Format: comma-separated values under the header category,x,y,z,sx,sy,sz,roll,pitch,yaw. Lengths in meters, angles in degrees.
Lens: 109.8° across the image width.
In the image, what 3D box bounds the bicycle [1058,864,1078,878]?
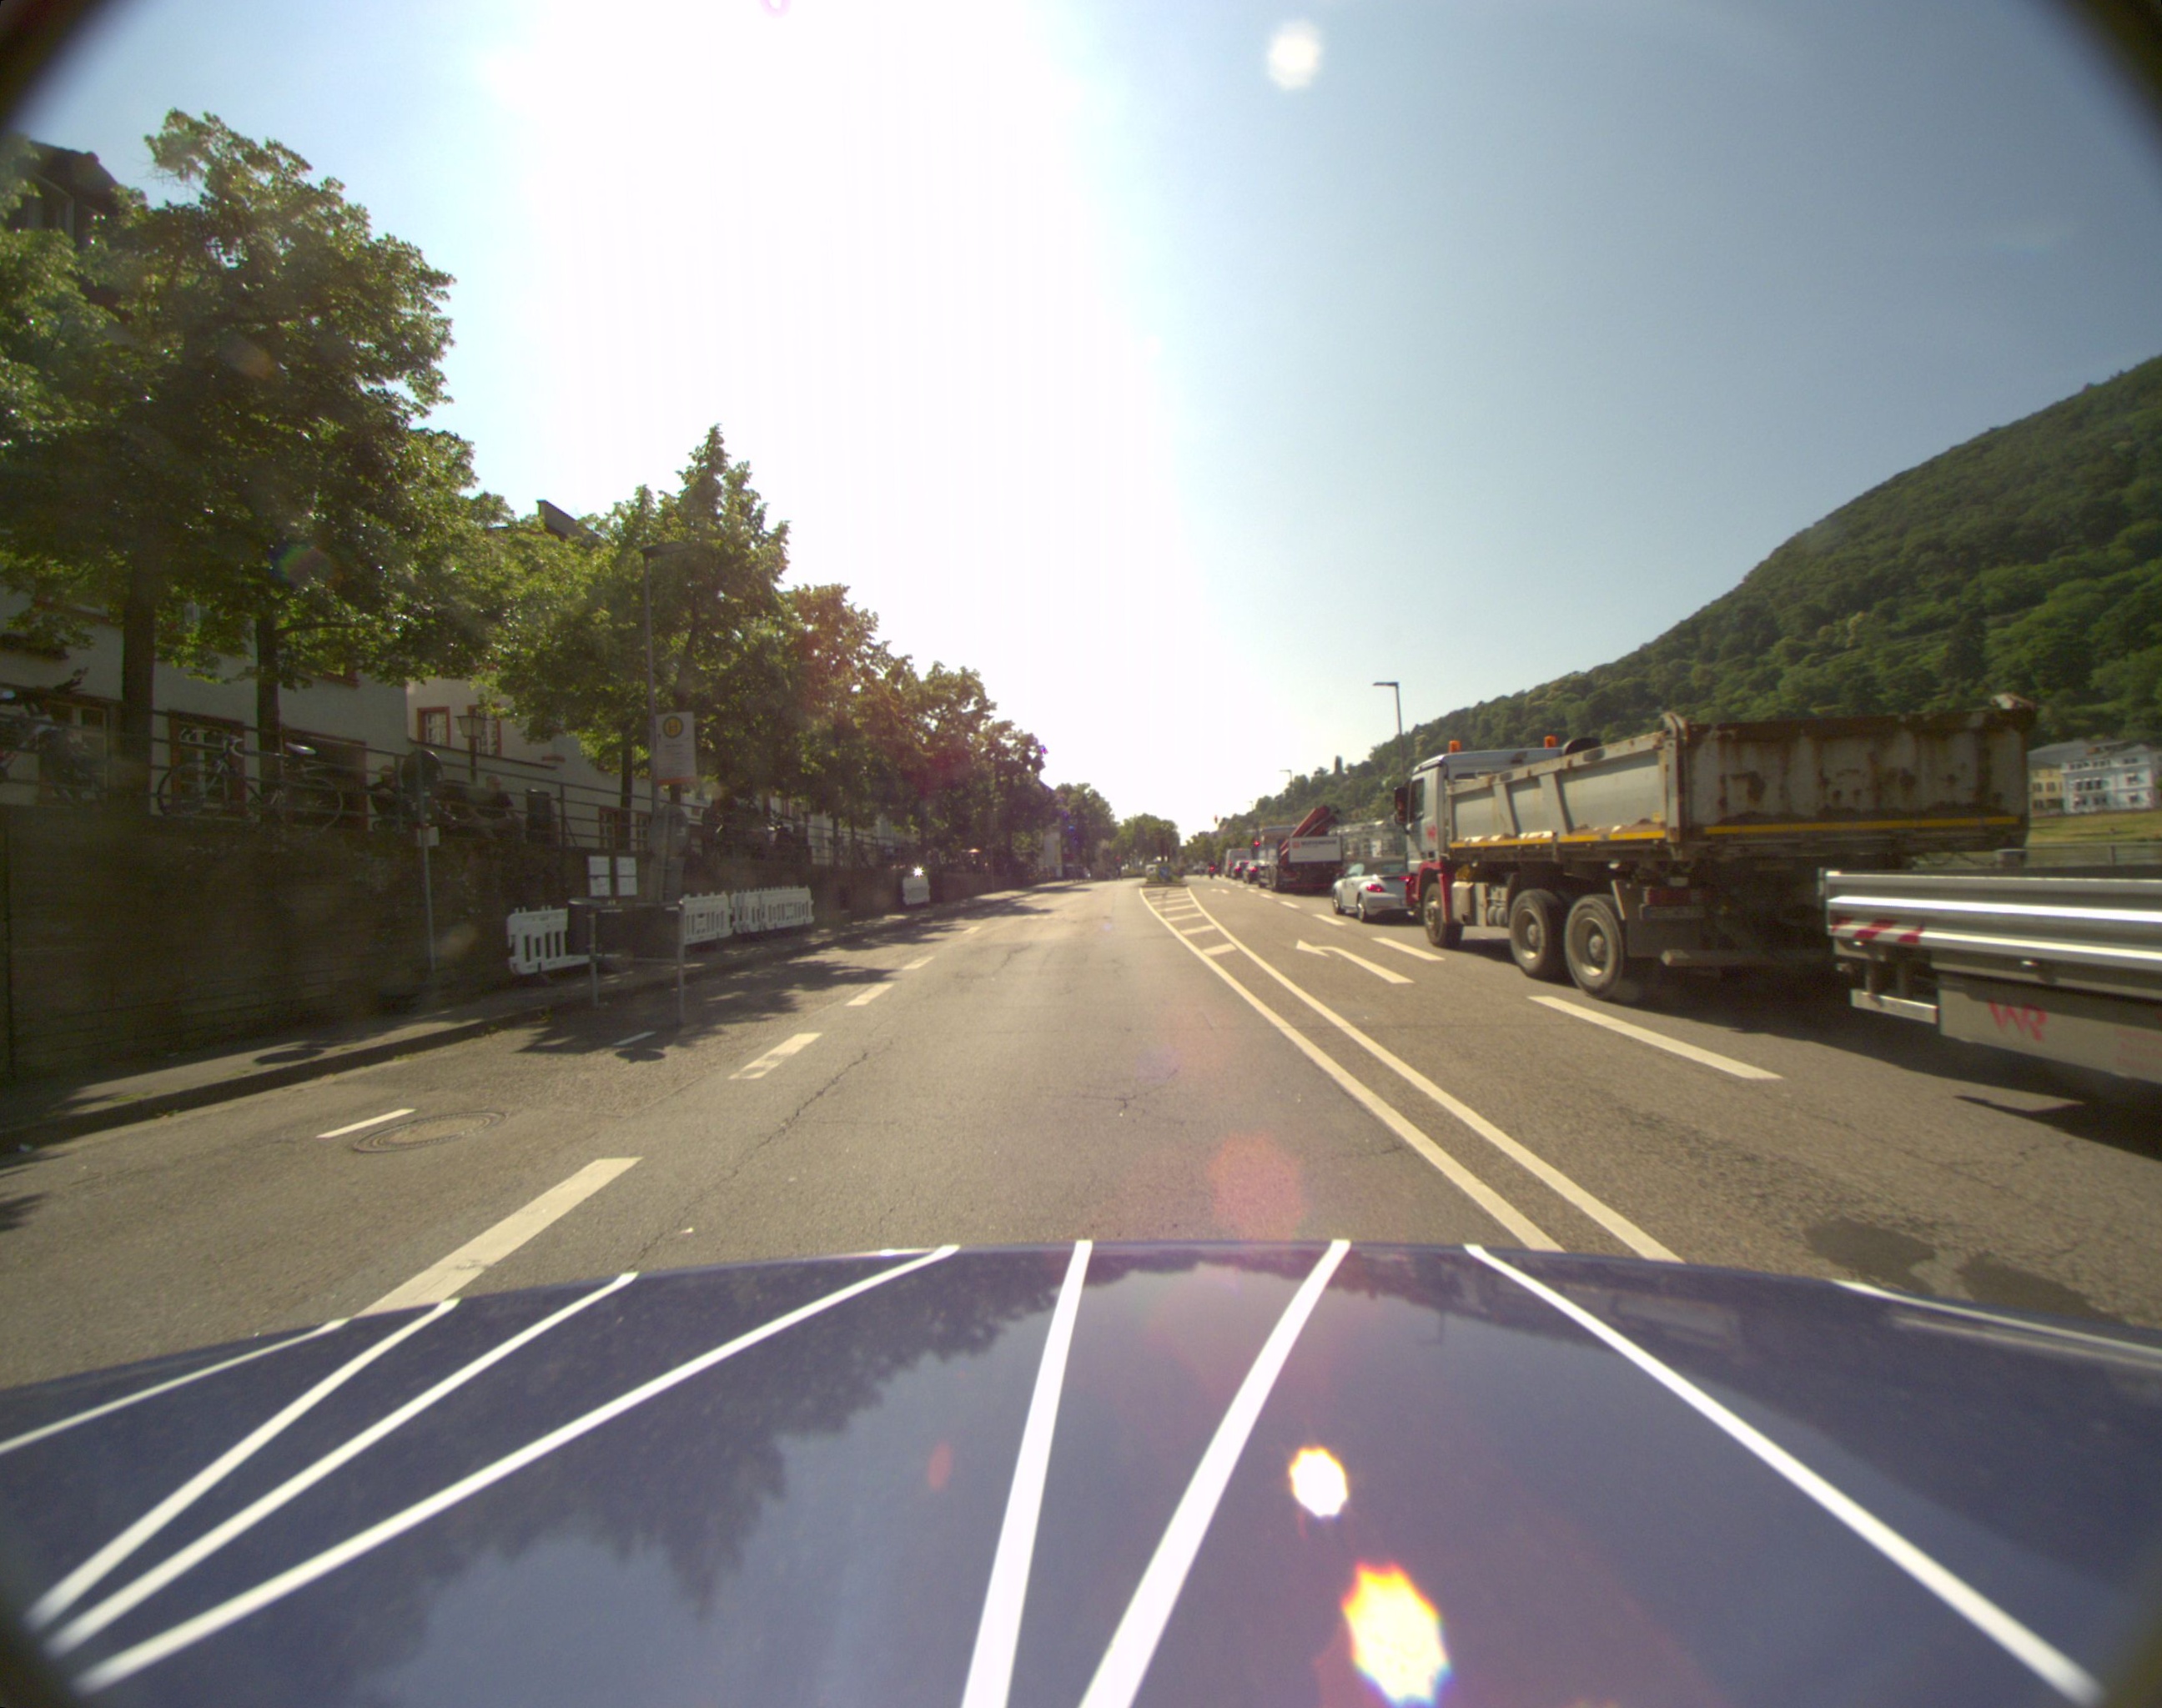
category,x,y,z,sx,sy,sz,roll,pitch,yaw
bicycle,-1.127,1.468,65.425,1.752,1.126,0.464,0,-1,2

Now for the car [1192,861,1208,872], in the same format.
category,x,y,z,sx,sy,sz,roll,pitch,yaw
car,18.144,1.897,115.685,1.908,1.428,3.893,-3,0,3

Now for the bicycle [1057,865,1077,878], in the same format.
category,x,y,z,sx,sy,sz,roll,pitch,yaw
bicycle,-1.198,1.471,64.902,1.752,1.126,0.464,0,-1,2

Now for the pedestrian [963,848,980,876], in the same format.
category,x,y,z,sx,sy,sz,roll,pitch,yaw
pedestrian,-5.690,0.409,39.507,0.669,1.406,0.697,-2,0,6

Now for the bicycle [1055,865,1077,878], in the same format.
category,x,y,z,sx,sy,sz,roll,pitch,yaw
bicycle,-1.268,1.475,64.411,1.752,1.126,0.464,0,-1,2

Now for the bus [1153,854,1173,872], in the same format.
category,x,y,z,sx,sy,sz,roll,pitch,yaw
bus,16.719,1.798,155.192,2.656,3.367,10.794,-2,-1,-1

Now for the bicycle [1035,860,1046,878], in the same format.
category,x,y,z,sx,sy,sz,roll,pitch,yaw
bicycle,-2.879,1.039,54.116,0.476,1.254,2.163,0,0,5

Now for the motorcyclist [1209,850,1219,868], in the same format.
category,x,y,z,sx,sy,sz,roll,pitch,yaw
motorcyclist,11.145,0.429,63.673,0.703,1.517,0.861,-2,0,9

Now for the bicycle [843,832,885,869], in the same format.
category,x,y,z,sx,sy,sz,roll,pitch,yaw
bicycle,-6.904,-0.105,24.245,0.410,1.099,1.926,-2,-1,11

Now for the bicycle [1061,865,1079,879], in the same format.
category,x,y,z,sx,sy,sz,roll,pitch,yaw
bicycle,-0.968,1.566,67.442,1.631,1.210,0.414,0,0,2

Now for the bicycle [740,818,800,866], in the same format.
category,x,y,z,sx,sy,sz,roll,pitch,yaw
bicycle,-7.512,-0.277,18.429,0.410,1.099,1.736,-2,0,11

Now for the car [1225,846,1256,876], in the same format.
category,x,y,z,sx,sy,sz,roll,pitch,yaw
car,13.769,0.596,65.923,2.199,2.511,4.751,0,0,6

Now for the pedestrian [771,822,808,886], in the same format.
category,x,y,z,sx,sy,sz,roll,pitch,yaw
pedestrian,-8.006,-0.006,20.868,0.720,1.710,0.573,-2,0,6

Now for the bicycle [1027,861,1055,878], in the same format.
category,x,y,z,sx,sy,sz,roll,pitch,yaw
bicycle,-3.178,1.226,60.359,2.159,1.360,0.584,0,0,7

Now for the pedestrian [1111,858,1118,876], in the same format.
category,x,y,z,sx,sy,sz,roll,pitch,yaw
pedestrian,3.271,1.287,74.017,0.541,1.767,0.583,-1,-1,5

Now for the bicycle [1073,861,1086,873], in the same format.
category,x,y,z,sx,sy,sz,roll,pitch,yaw
bicycle,-0.105,1.128,65.356,0.539,1.002,1.757,-2,-1,18

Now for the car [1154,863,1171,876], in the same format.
category,x,y,z,sx,sy,sz,roll,pitch,yaw
car,10.979,2.050,102.077,1.997,1.497,4.594,-2,0,9

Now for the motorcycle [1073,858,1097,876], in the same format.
category,x,y,z,sx,sy,sz,roll,pitch,yaw
motorcycle,0.367,1.201,69.376,2.196,1.518,0.800,-3,-1,43

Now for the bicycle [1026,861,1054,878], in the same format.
category,x,y,z,sx,sy,sz,roll,pitch,yaw
bicycle,-3.249,1.222,59.820,2.159,1.360,0.477,0,0,7

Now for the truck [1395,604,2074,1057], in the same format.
category,x,y,z,sx,sy,sz,roll,pitch,yaw
truck,6.633,-0.146,9.813,2.647,3.436,7.875,-1,0,6

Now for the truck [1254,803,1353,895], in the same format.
category,x,y,z,sx,sy,sz,roll,pitch,yaw
truck,9.800,-0.141,34.749,2.647,3.455,11.115,-2,-1,8

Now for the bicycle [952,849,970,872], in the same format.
category,x,y,z,sx,sy,sz,roll,pitch,yaw
bicycle,-5.360,0.309,34.089,0.298,0.998,1.942,-2,-1,5

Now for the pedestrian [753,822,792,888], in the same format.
category,x,y,z,sx,sy,sz,roll,pitch,yaw
pedestrian,-8.221,0.023,20.263,0.720,1.710,0.573,-2,0,6

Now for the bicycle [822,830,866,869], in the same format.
category,x,y,z,sx,sy,sz,roll,pitch,yaw
bicycle,-7.013,-0.123,22.554,0.410,1.099,1.736,-2,-1,11

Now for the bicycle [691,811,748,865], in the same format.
category,x,y,z,sx,sy,sz,roll,pitch,yaw
bicycle,-7.805,-0.325,16.471,0.411,1.099,1.734,-2,0,-1

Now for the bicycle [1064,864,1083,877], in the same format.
category,x,y,z,sx,sy,sz,roll,pitch,yaw
bicycle,-0.682,1.516,68.394,1.628,1.163,0.426,-1,-1,25

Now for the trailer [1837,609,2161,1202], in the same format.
category,x,y,z,sx,sy,sz,roll,pitch,yaw
trailer,5.713,0.205,1.166,2.703,2.516,6.950,-1,0,6

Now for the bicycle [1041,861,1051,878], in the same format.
category,x,y,z,sx,sy,sz,roll,pitch,yaw
bicycle,-2.607,1.162,56.360,0.476,1.254,2.163,0,0,5

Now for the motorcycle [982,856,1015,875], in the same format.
category,x,y,z,sx,sy,sz,roll,pitch,yaw
motorcycle,-4.953,0.715,45.565,1.920,1.091,0.575,-1,0,-1

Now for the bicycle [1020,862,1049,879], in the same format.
category,x,y,z,sx,sy,sz,roll,pitch,yaw
bicycle,-3.538,1.267,58.300,2.159,1.254,0.477,0,0,7

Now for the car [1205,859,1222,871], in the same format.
category,x,y,z,sx,sy,sz,roll,pitch,yaw
car,17.382,1.461,99.870,1.997,1.444,4.264,-3,-1,7

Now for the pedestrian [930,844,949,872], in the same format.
category,x,y,z,sx,sy,sz,roll,pitch,yaw
pedestrian,-6.457,0.197,34.751,0.696,1.257,0.670,-2,0,2

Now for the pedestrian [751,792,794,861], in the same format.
category,x,y,z,sx,sy,sz,roll,pitch,yaw
pedestrian,-7.957,-0.697,19.610,0.720,1.710,0.712,-2,0,6

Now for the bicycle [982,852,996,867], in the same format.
category,x,y,z,sx,sy,sz,roll,pitch,yaw
bicycle,-4.751,0.303,39.396,0.350,0.779,1.920,-2,-1,4

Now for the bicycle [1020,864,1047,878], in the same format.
category,x,y,z,sx,sy,sz,roll,pitch,yaw
bicycle,-3.648,1.302,57.877,2.027,1.085,0.338,0,0,6

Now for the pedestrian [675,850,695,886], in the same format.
category,x,y,z,sx,sy,sz,roll,pitch,yaw
pedestrian,-16.908,0.590,32.459,0.345,1.479,0.325,-4,16,8

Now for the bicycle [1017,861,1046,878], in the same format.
category,x,y,z,sx,sy,sz,roll,pitch,yaw
bicycle,-3.755,1.184,57.491,2.159,1.254,0.421,0,0,7

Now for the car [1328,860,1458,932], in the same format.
category,x,y,z,sx,sy,sz,roll,pitch,yaw
car,7.216,0.898,17.989,1.781,1.435,3.999,-2,0,6

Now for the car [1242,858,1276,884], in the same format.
category,x,y,z,sx,sy,sz,roll,pitch,yaw
car,10.898,1.010,46.659,1.660,1.428,4.084,-2,0,9

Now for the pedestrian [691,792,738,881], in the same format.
category,x,y,z,sx,sy,sz,roll,pitch,yaw
pedestrian,-9.196,-0.425,19.076,0.720,2.176,0.712,-2,0,6

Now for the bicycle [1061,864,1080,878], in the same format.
category,x,y,z,sx,sy,sz,roll,pitch,yaw
bicycle,-0.919,1.516,67.745,1.631,1.163,0.350,0,0,2

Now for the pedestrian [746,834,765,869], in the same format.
category,x,y,z,sx,sy,sz,roll,pitch,yaw
pedestrian,-14.731,-0.099,34.401,0.469,1.536,0.608,-4,0,7

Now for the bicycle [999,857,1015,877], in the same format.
category,x,y,z,sx,sy,sz,roll,pitch,yaw
bicycle,-4.198,0.758,43.363,0.345,1.106,1.921,-2,-1,11

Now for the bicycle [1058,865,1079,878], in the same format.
category,x,y,z,sx,sy,sz,roll,pitch,yaw
bicycle,-1.077,1.471,63.852,1.753,1.126,0.540,0,-1,0

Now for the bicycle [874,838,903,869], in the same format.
category,x,y,z,sx,sy,sz,roll,pitch,yaw
bicycle,-7.320,0.010,28.977,0.382,1.133,1.935,-2,-1,5

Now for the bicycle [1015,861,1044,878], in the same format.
category,x,y,z,sx,sy,sz,roll,pitch,yaw
bicycle,-3.871,1.158,57.037,2.159,1.254,0.477,0,0,7

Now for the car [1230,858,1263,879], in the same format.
category,x,y,z,sx,sy,sz,roll,pitch,yaw
car,12.534,1.078,57.776,1.997,1.410,4.923,-2,-1,8

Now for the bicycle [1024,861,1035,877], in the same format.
category,x,y,z,sx,sy,sz,roll,pitch,yaw
bicycle,-3.356,0.982,49.864,0.301,1.042,2.164,-1,-2,8

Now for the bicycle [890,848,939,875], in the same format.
category,x,y,z,sx,sy,sz,roll,pitch,yaw
bicycle,-6.709,0.312,30.608,1.858,0.998,0.299,-2,-1,4

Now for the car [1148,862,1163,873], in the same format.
category,x,y,z,sx,sy,sz,roll,pitch,yaw
car,13.667,2.447,139.934,1.999,1.750,4.589,-2,1,-3

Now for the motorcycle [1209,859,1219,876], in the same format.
category,x,y,z,sx,sy,sz,roll,pitch,yaw
motorcycle,11.055,1.136,63.154,0.727,1.378,2.513,-2,-1,9

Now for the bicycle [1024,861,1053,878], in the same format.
category,x,y,z,sx,sy,sz,roll,pitch,yaw
bicycle,-3.317,1.219,59.318,2.159,1.360,0.477,0,0,7

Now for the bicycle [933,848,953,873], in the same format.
category,x,y,z,sx,sy,sz,roll,pitch,yaw
bicycle,-5.787,0.298,31.984,0.298,0.998,1.861,-2,-1,5

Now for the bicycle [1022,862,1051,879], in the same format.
category,x,y,z,sx,sy,sz,roll,pitch,yaw
bicycle,-3.449,1.270,58.799,2.159,1.254,0.477,0,0,7
